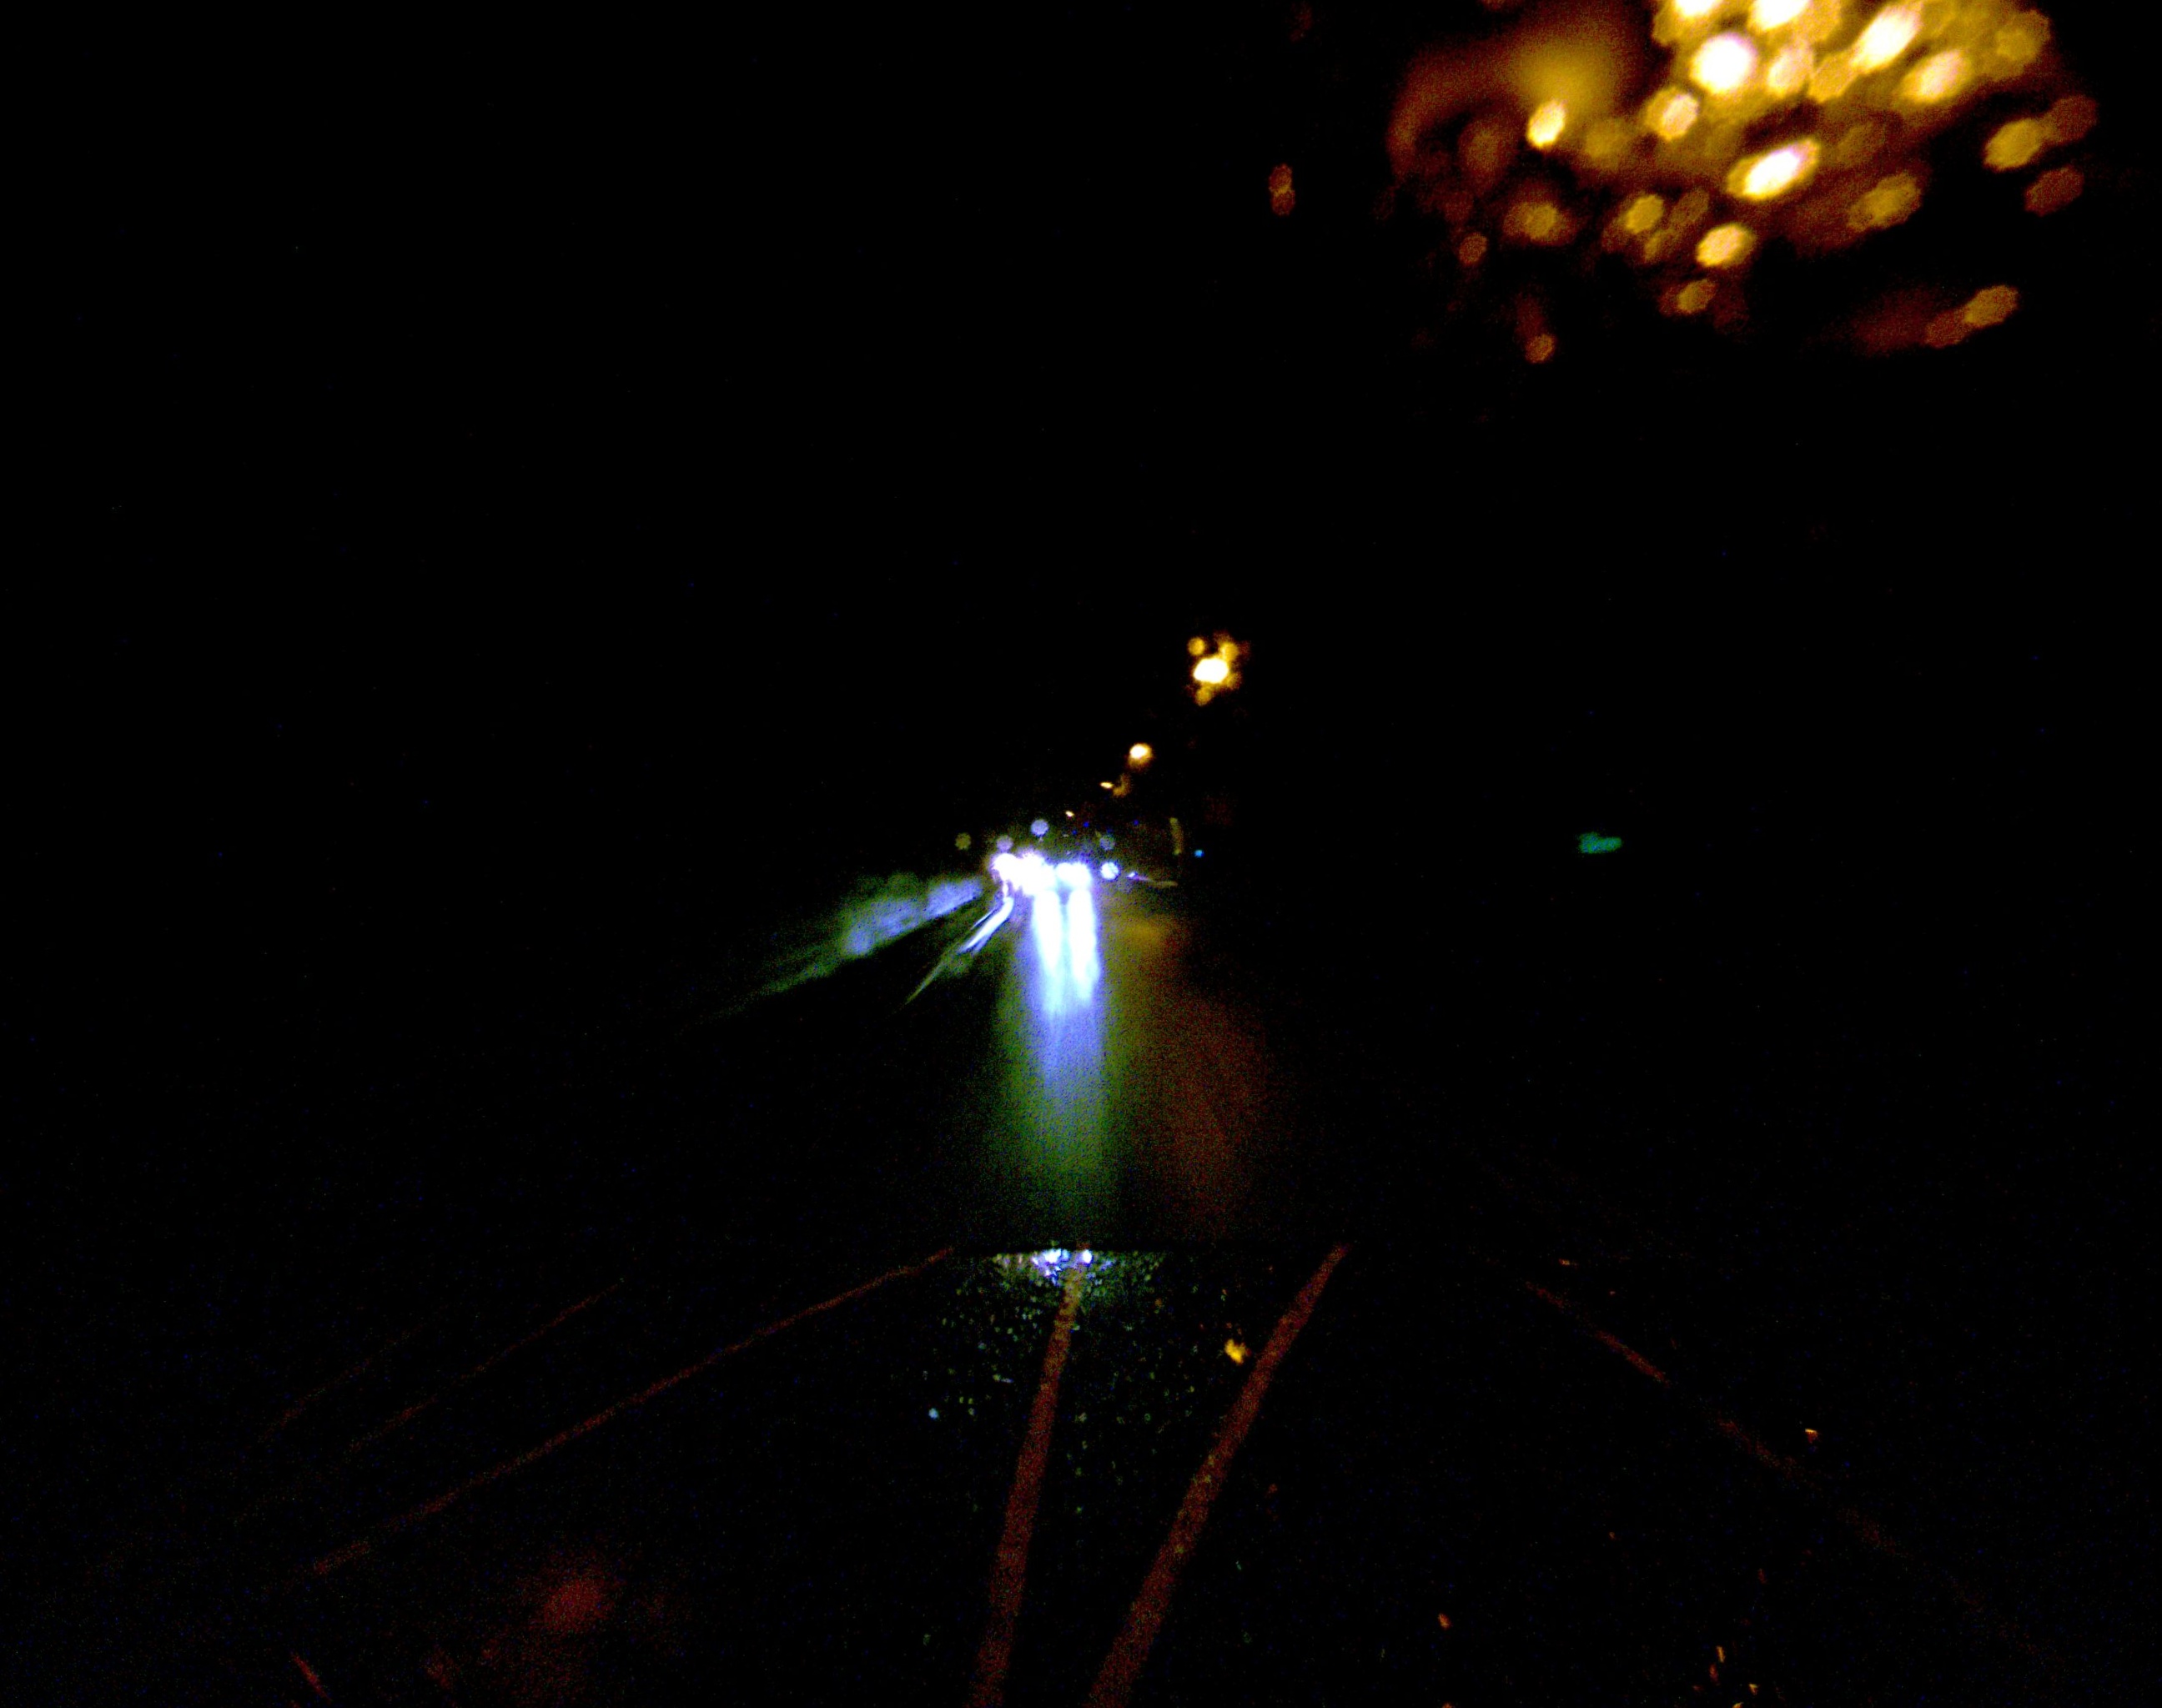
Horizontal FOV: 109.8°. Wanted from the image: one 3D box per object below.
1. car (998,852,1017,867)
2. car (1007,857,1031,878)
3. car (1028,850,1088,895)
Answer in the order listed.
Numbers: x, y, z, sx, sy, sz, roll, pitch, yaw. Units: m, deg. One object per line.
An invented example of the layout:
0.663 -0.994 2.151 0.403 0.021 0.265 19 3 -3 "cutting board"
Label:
-9.700 0.693 99.868 1.711 1.762 3.994 -2 1 -16 "car"
-6.538 1.416 80.115 1.901 2.002 3.995 -2 1 -13 "car"
-1.135 0.816 35.401 2.001 1.585 4.602 5 2 -10 "car"
